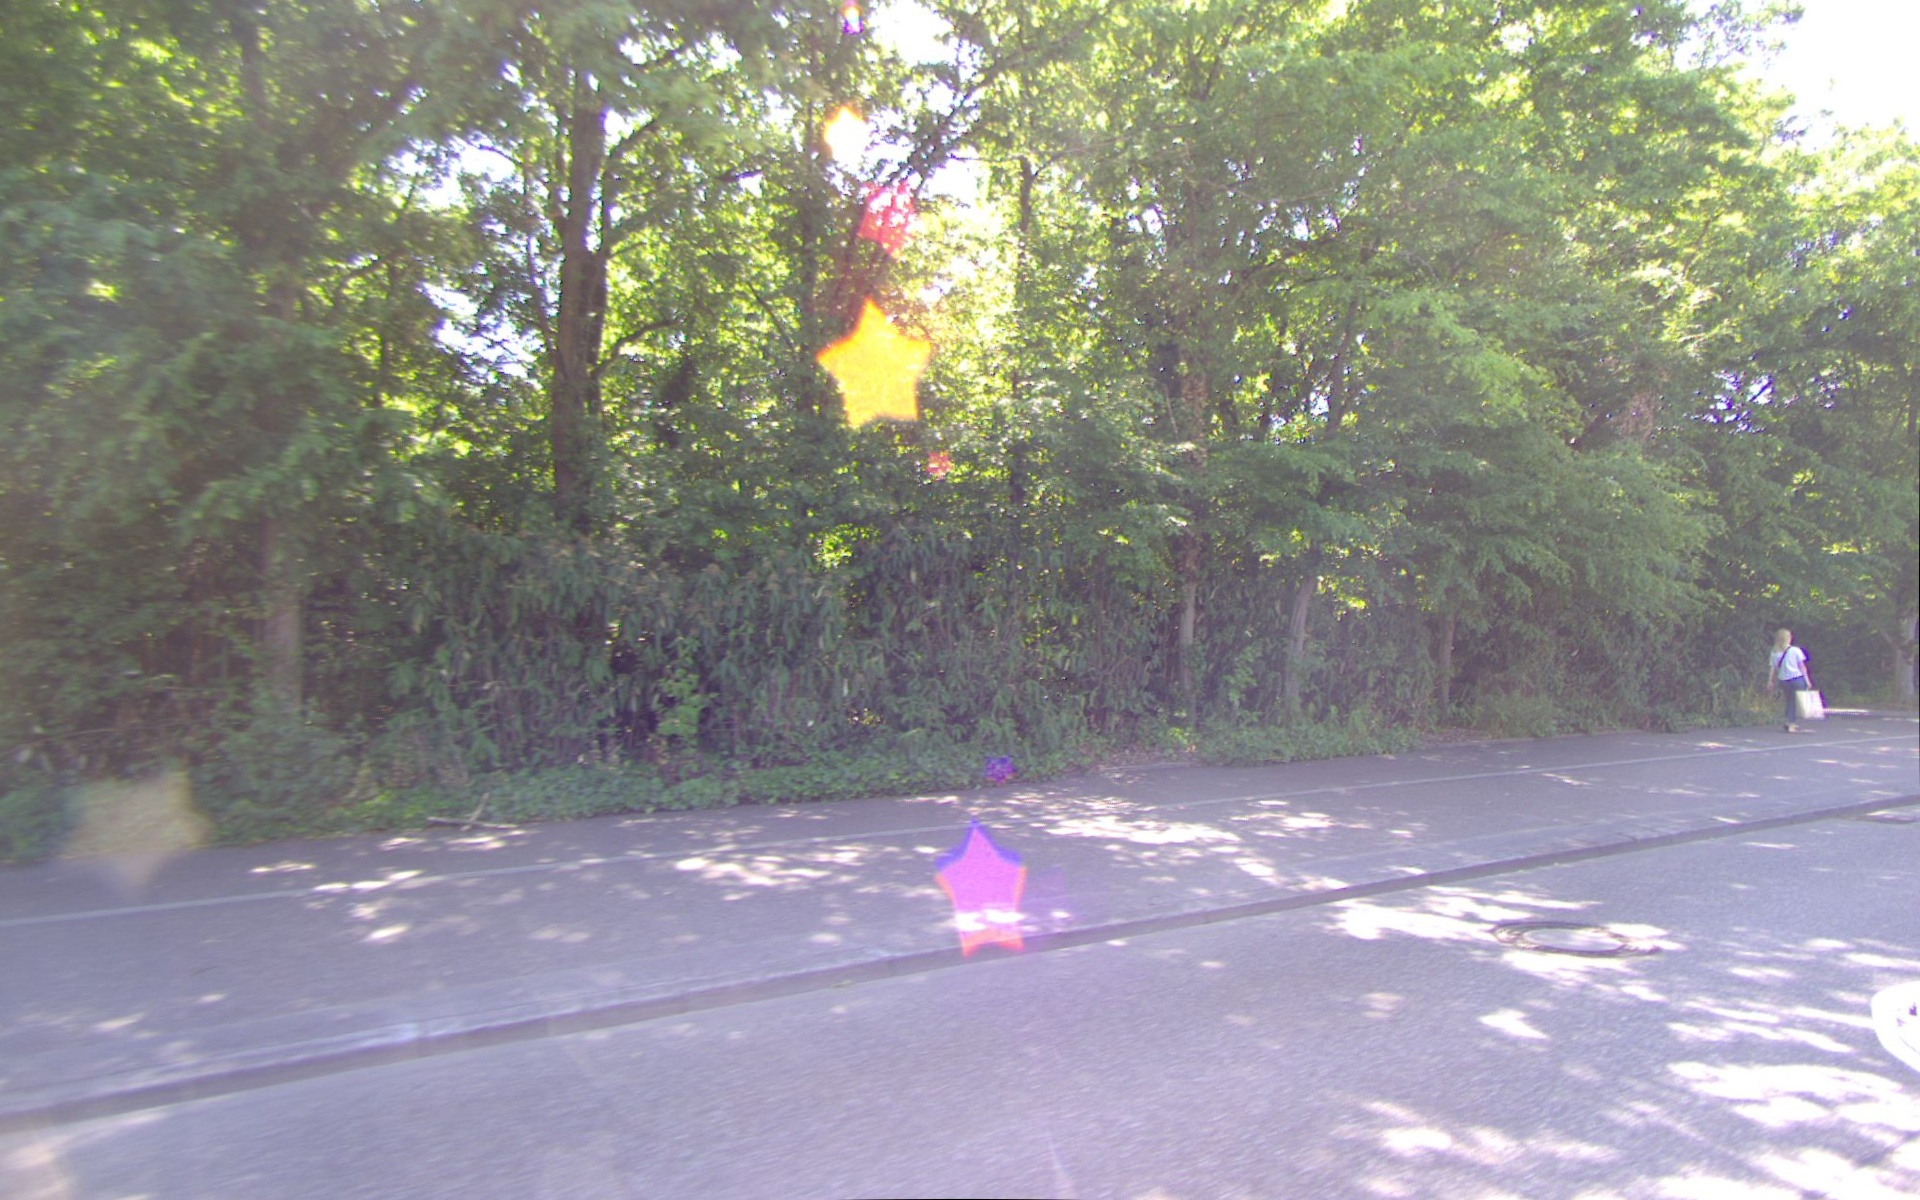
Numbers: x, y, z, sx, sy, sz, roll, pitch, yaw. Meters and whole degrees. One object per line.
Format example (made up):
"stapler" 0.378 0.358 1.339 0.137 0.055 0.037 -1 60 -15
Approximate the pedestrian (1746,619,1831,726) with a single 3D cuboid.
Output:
"pedestrian" 13.358 1.148 16.205 0.774 1.644 0.824 1 0 -30
